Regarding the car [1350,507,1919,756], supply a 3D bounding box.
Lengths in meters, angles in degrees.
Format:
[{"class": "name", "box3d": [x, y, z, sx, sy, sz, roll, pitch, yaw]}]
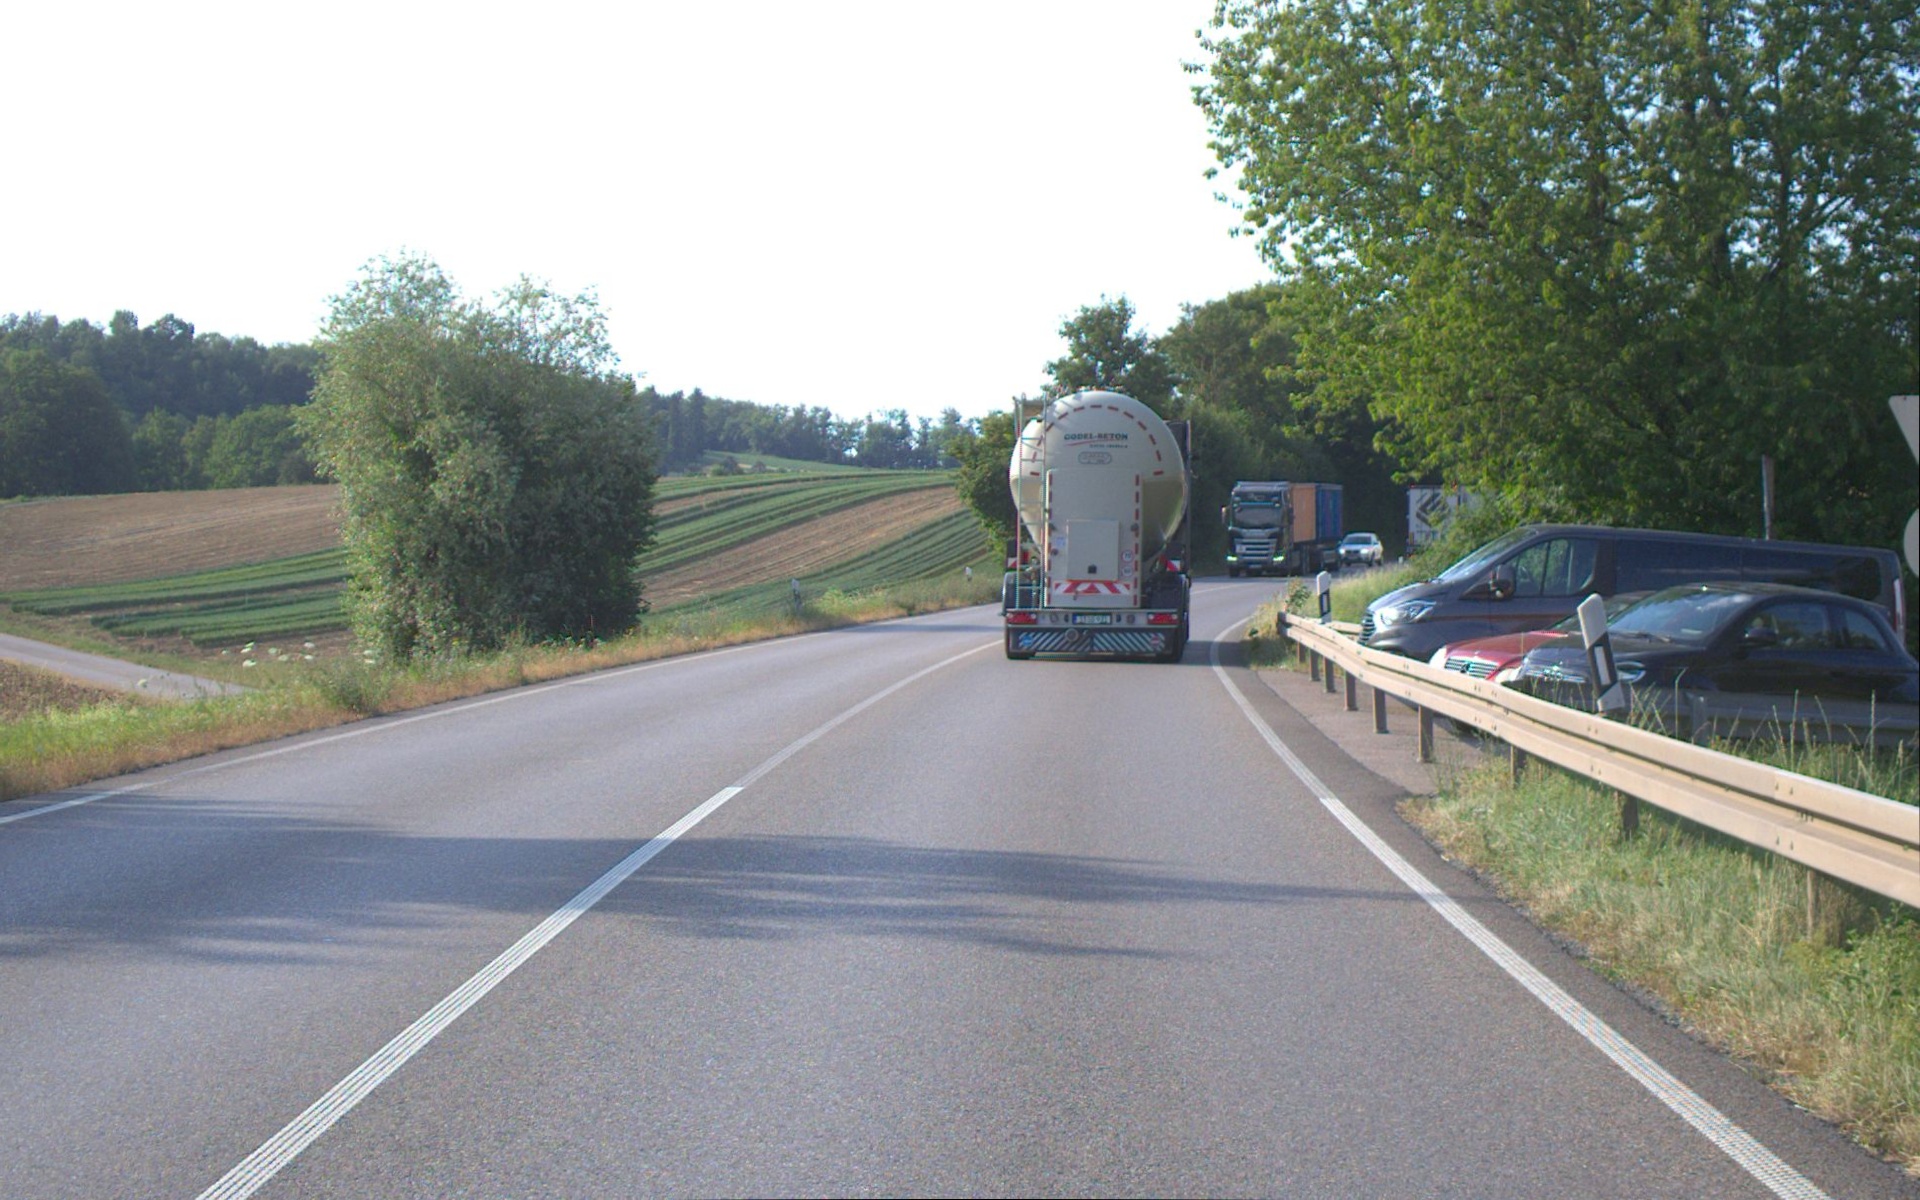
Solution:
[{"class": "car", "box3d": [6.631, 0.281, 34.081, 5.139, 1.937, 1.975, 5, 1, 0]}]

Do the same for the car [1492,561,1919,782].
[{"class": "car", "box3d": [6.543, 0.600, 27.465, 4.310, 1.504, 1.721, 3, 1, -30]}]

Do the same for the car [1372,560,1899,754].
[{"class": "car", "box3d": [5.963, 0.506, 30.272, 4.310, 1.395, 1.721, 3, 2, -27]}]

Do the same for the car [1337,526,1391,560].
[{"class": "car", "box3d": [20.331, -2.885, 172.875, 1.976, 1.645, 4.359, 0, 2, 17]}]

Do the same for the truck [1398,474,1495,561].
[{"class": "truck", "box3d": [24.661, -4.200, 173.702, 3.186, 4.213, 13.163, 0, 2, 15]}]

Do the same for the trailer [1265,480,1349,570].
[{"class": "trailer", "box3d": [15.739, -3.413, 155.312, 2.366, 3.907, 8.955, 0, 2, 15]}]

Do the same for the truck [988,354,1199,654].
[{"class": "truck", "box3d": [2.153, -1.434, 54.192, 2.893, 4.128, 13.171, 1, 1, 3]}]

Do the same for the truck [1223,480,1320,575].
[{"class": "truck", "box3d": [13.304, -3.125, 146.081, 2.391, 3.907, 10.153, 0, 2, 15]}]
